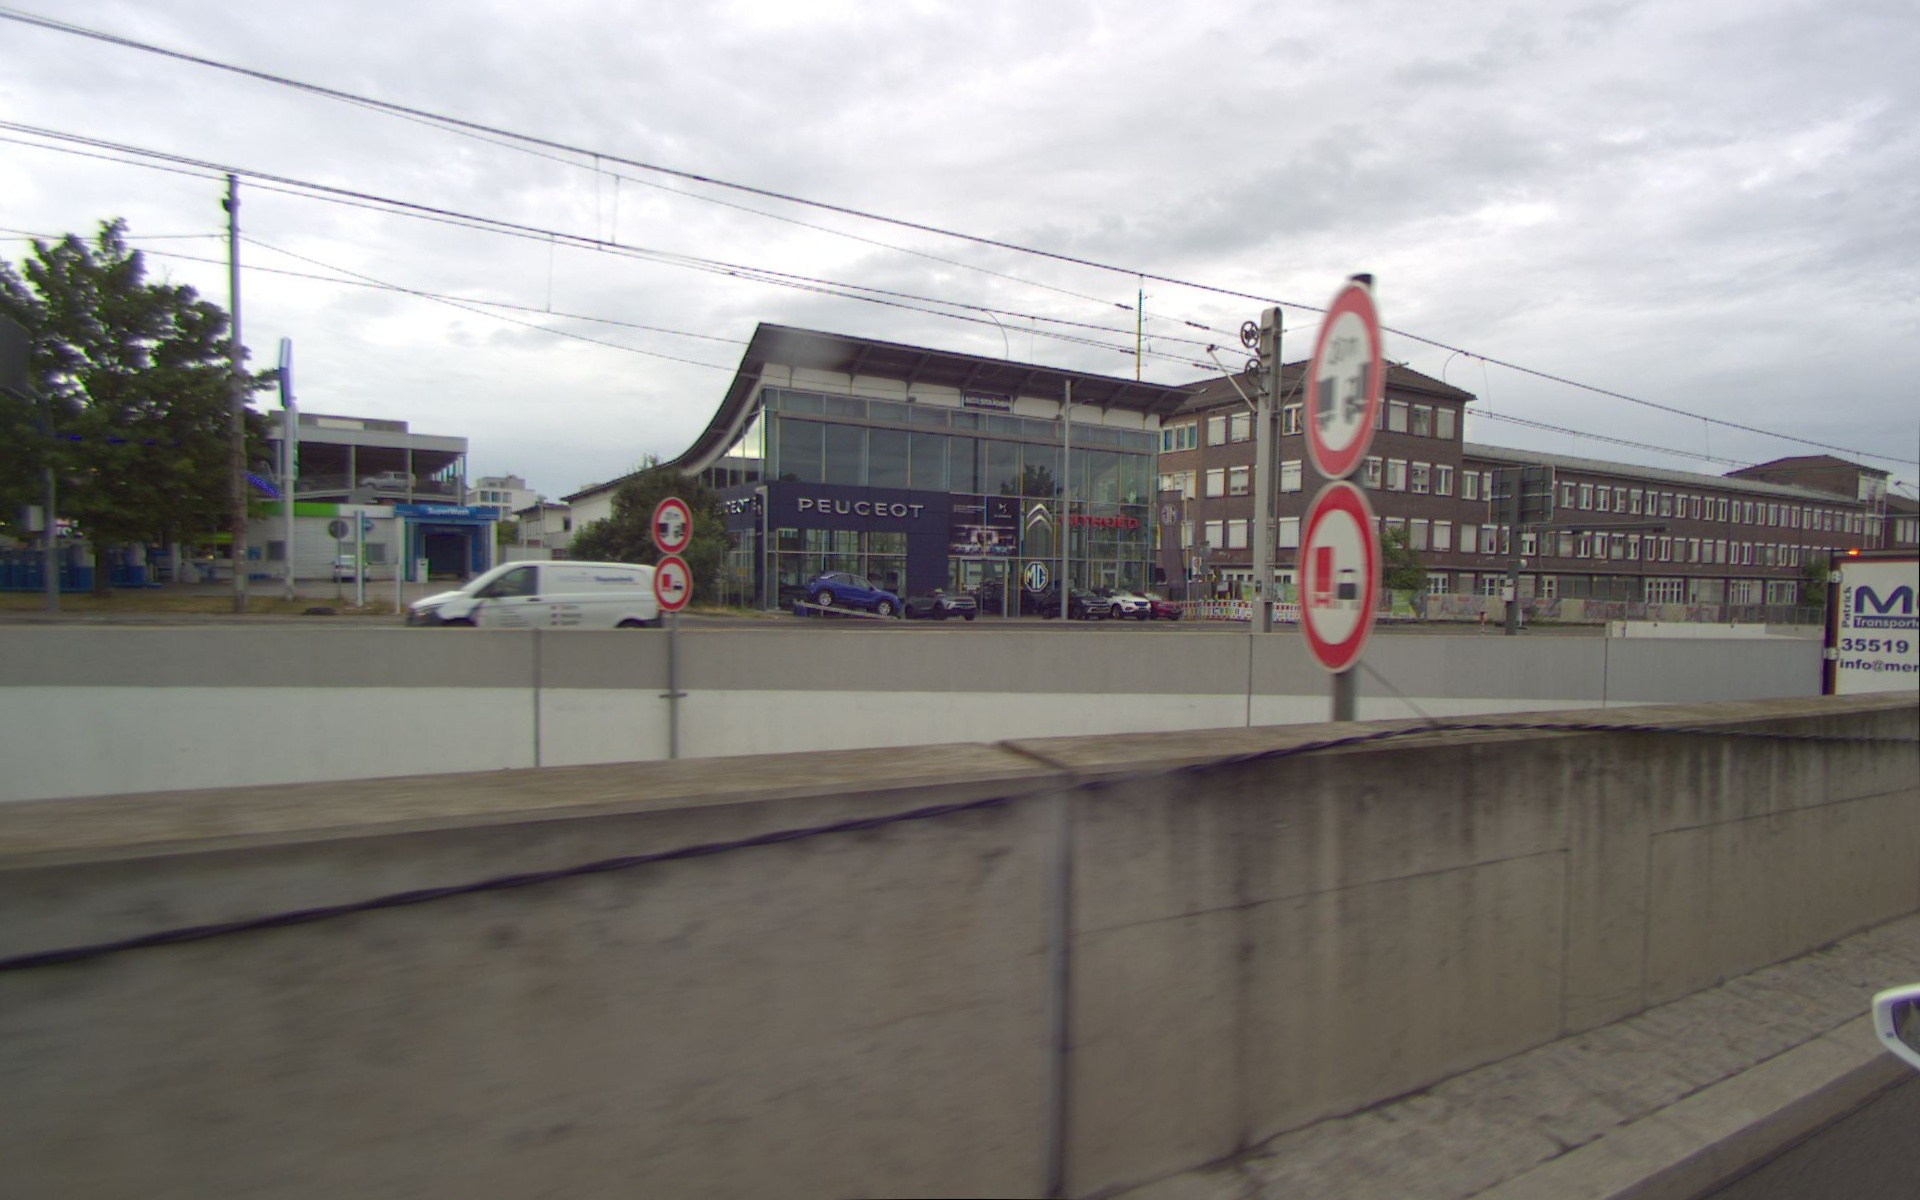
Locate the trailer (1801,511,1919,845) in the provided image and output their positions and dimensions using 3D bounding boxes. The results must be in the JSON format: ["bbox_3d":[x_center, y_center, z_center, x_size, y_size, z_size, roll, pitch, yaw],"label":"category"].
[{"bbox_3d":[18.103,1.126,16.111,13.026,4.309,2.749,1,0,-30],"label":"trailer"}]

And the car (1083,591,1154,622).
[{"bbox_3d":[7.834,0.309,49.909,1.729,1.416,3.464,1,0,-29],"label":"car"}]

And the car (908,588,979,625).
[{"bbox_3d":[-0.766,0.299,44.384,1.557,1.421,3.484,0,-4,-33],"label":"car"}]

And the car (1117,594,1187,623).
[{"bbox_3d":[9.773,0.414,51.402,1.601,1.400,3.460,1,0,-32],"label":"car"}]

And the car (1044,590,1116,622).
[{"bbox_3d":[5.762,0.271,48.515,1.729,1.493,3.464,1,0,-29],"label":"car"}]

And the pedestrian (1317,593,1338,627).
[{"bbox_3d":[19.441,0.522,53.086,0.830,1.774,0.612,1,1,-30],"label":"pedestrian"}]

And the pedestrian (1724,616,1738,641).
[{"bbox_3d":[63.732,2.371,82.999,0.645,2.040,0.667,2,0,-32],"label":"pedestrian"}]

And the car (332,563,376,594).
[{"bbox_3d":[-34.188,-1.230,56.721,1.834,1.662,3.971,1,1,-27],"label":"car"}]

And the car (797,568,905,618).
[{"bbox_3d":[-4.535,-0.296,41.613,4.012,1.630,1.757,6,-1,-23],"label":"car"}]

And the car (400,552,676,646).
[{"bbox_3d":[-8.577,0.010,20.565,4.977,1.718,1.990,1,1,-31],"label":"car"}]
